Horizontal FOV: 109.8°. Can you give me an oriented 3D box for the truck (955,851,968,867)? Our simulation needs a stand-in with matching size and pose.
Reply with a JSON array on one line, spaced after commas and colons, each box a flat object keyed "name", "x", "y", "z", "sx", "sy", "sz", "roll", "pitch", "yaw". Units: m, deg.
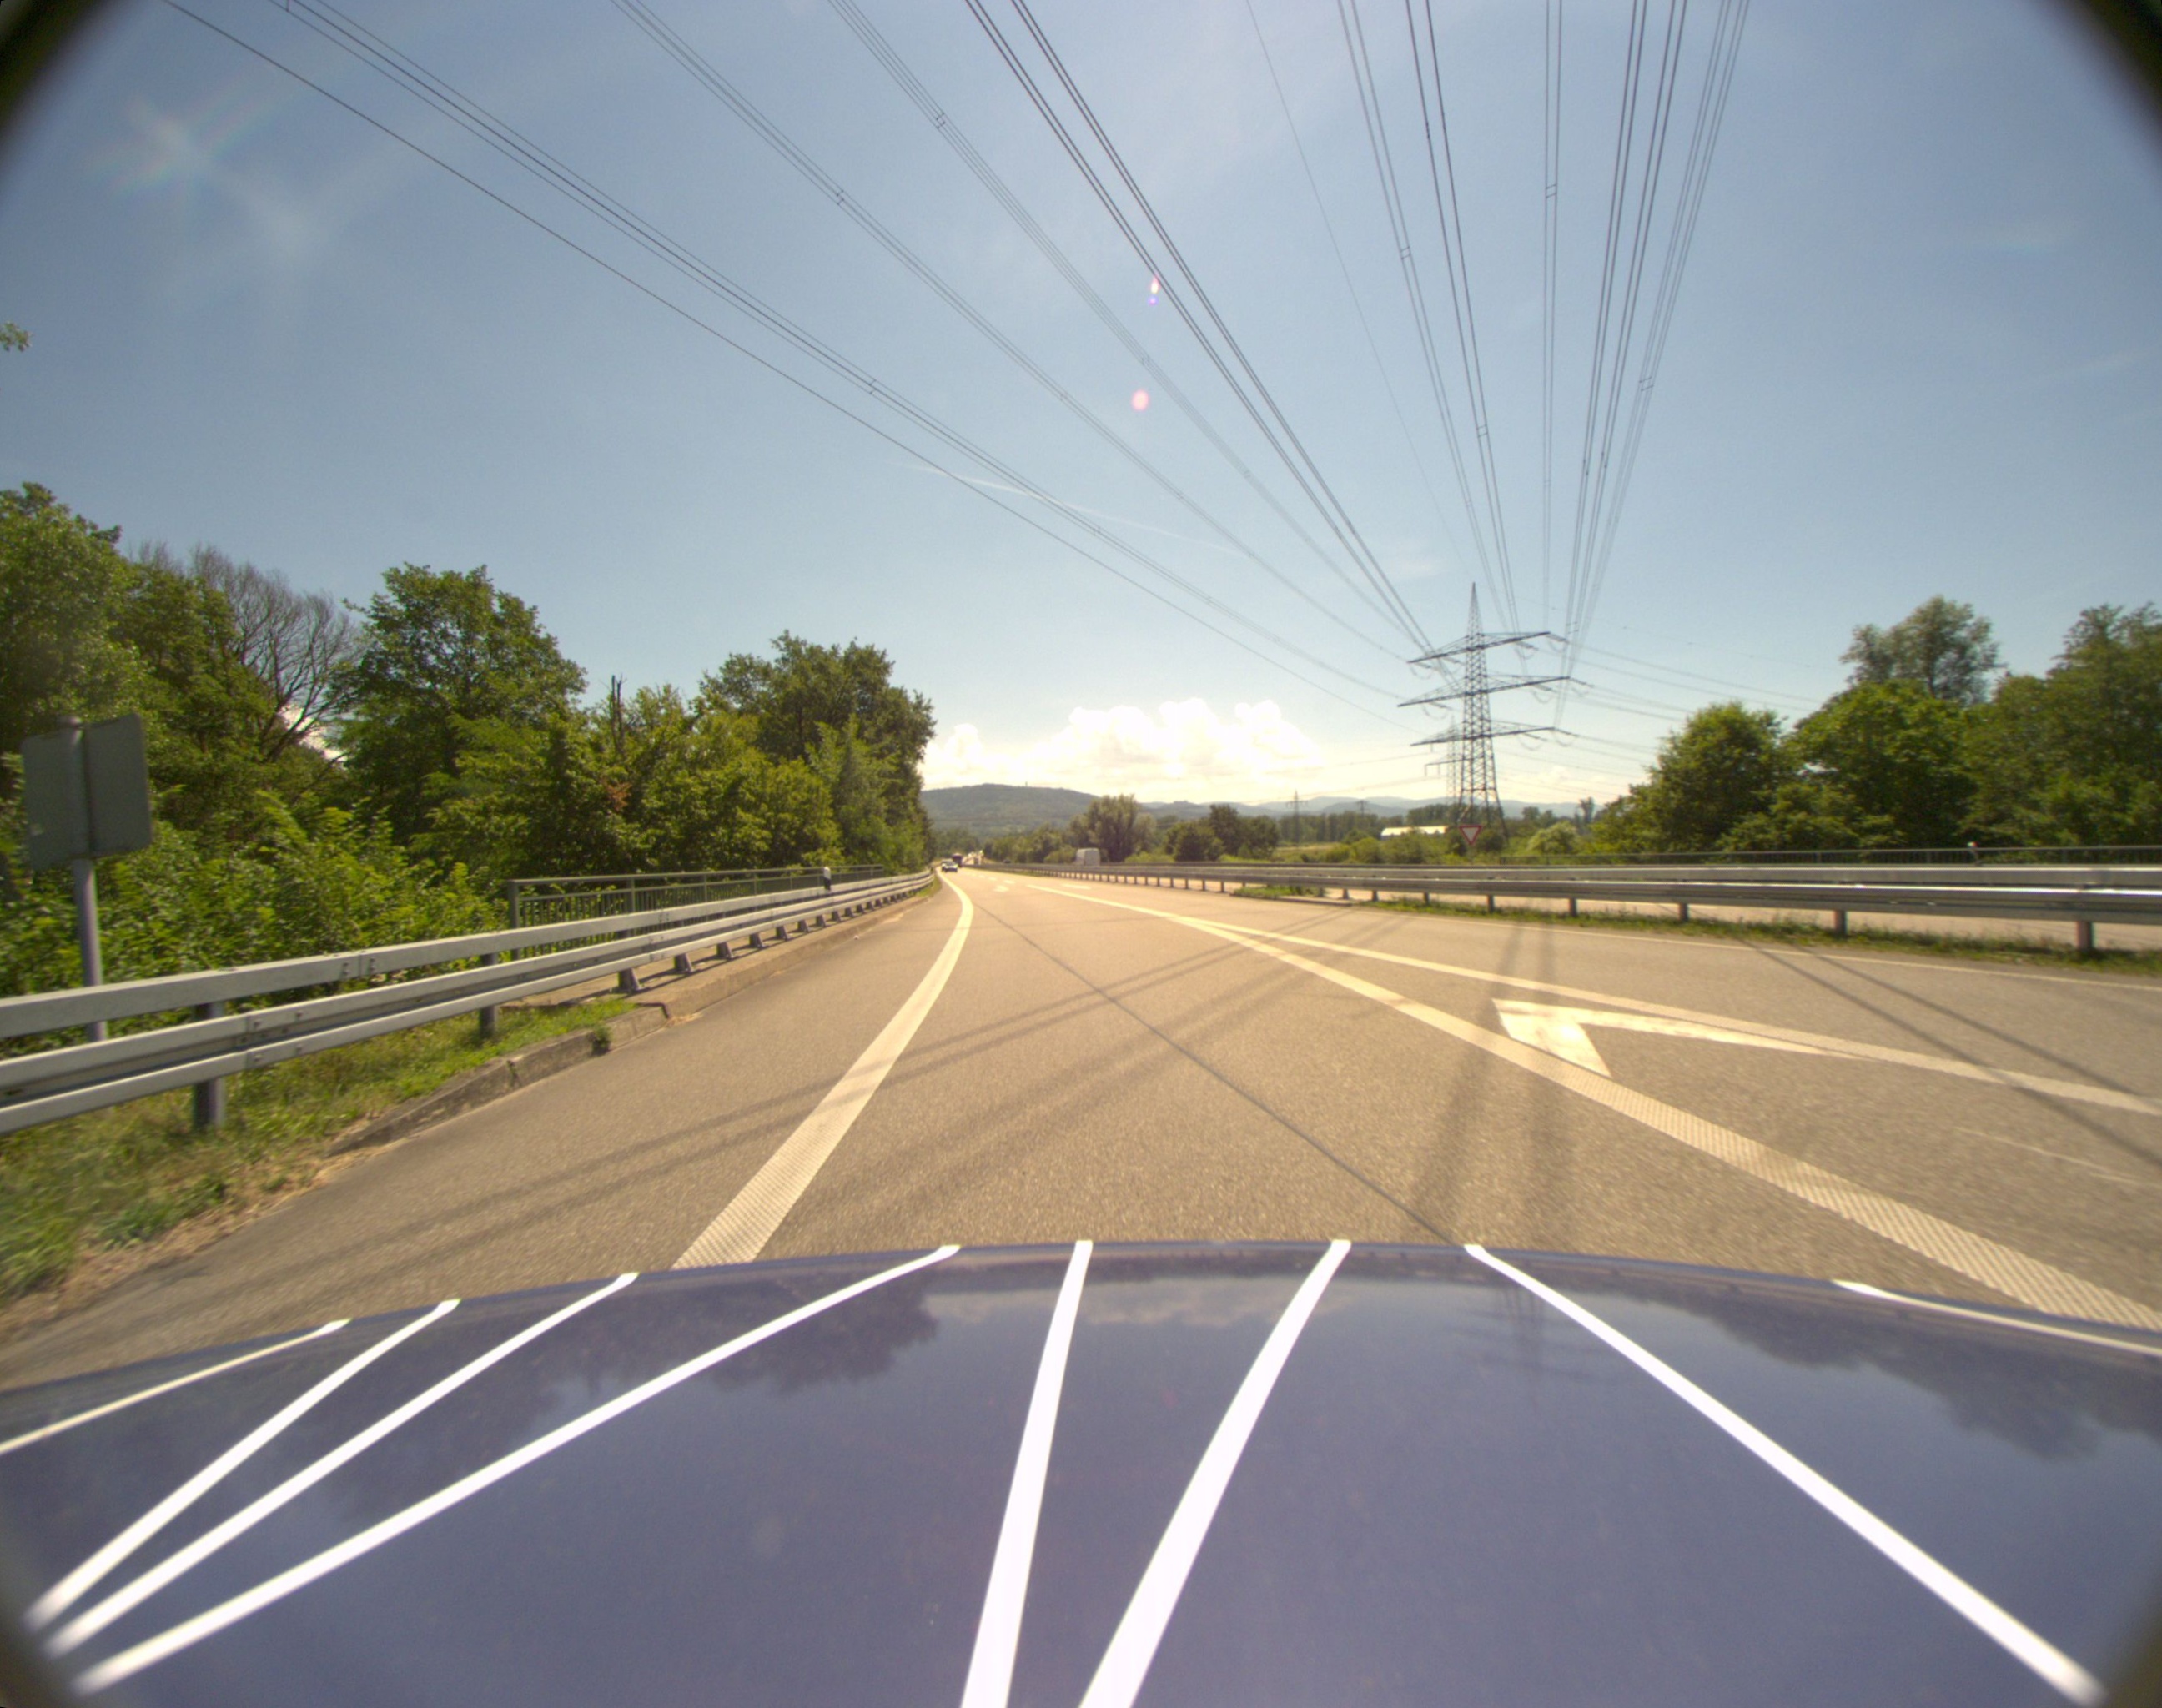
[{"name": "truck", "x": -31.309, "y": 1.294, "z": 199.180, "sx": 2.828, "sy": 4.142, "sz": 9.942, "roll": -1, "pitch": 0, "yaw": -6}]

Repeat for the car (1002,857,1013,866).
[{"name": "car", "x": -17.735, "y": 1.819, "z": 182.168, "sx": 1.898, "sy": 1.980, "sz": 5.526, "roll": -1, "pitch": 0, "yaw": -13}]

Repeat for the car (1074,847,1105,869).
[{"name": "car", "x": 0.962, "y": 0.500, "z": 91.004, "sx": 2.533, "sy": 2.602, "sz": 7.180, "roll": 0, "pitch": 0, "yaw": -9}]

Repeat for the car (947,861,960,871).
[{"name": "car", "x": -18.665, "y": 1.765, "z": 111.364, "sx": 1.578, "sy": 1.387, "sz": 3.483, "roll": -1, "pitch": 0, "yaw": -6}]
